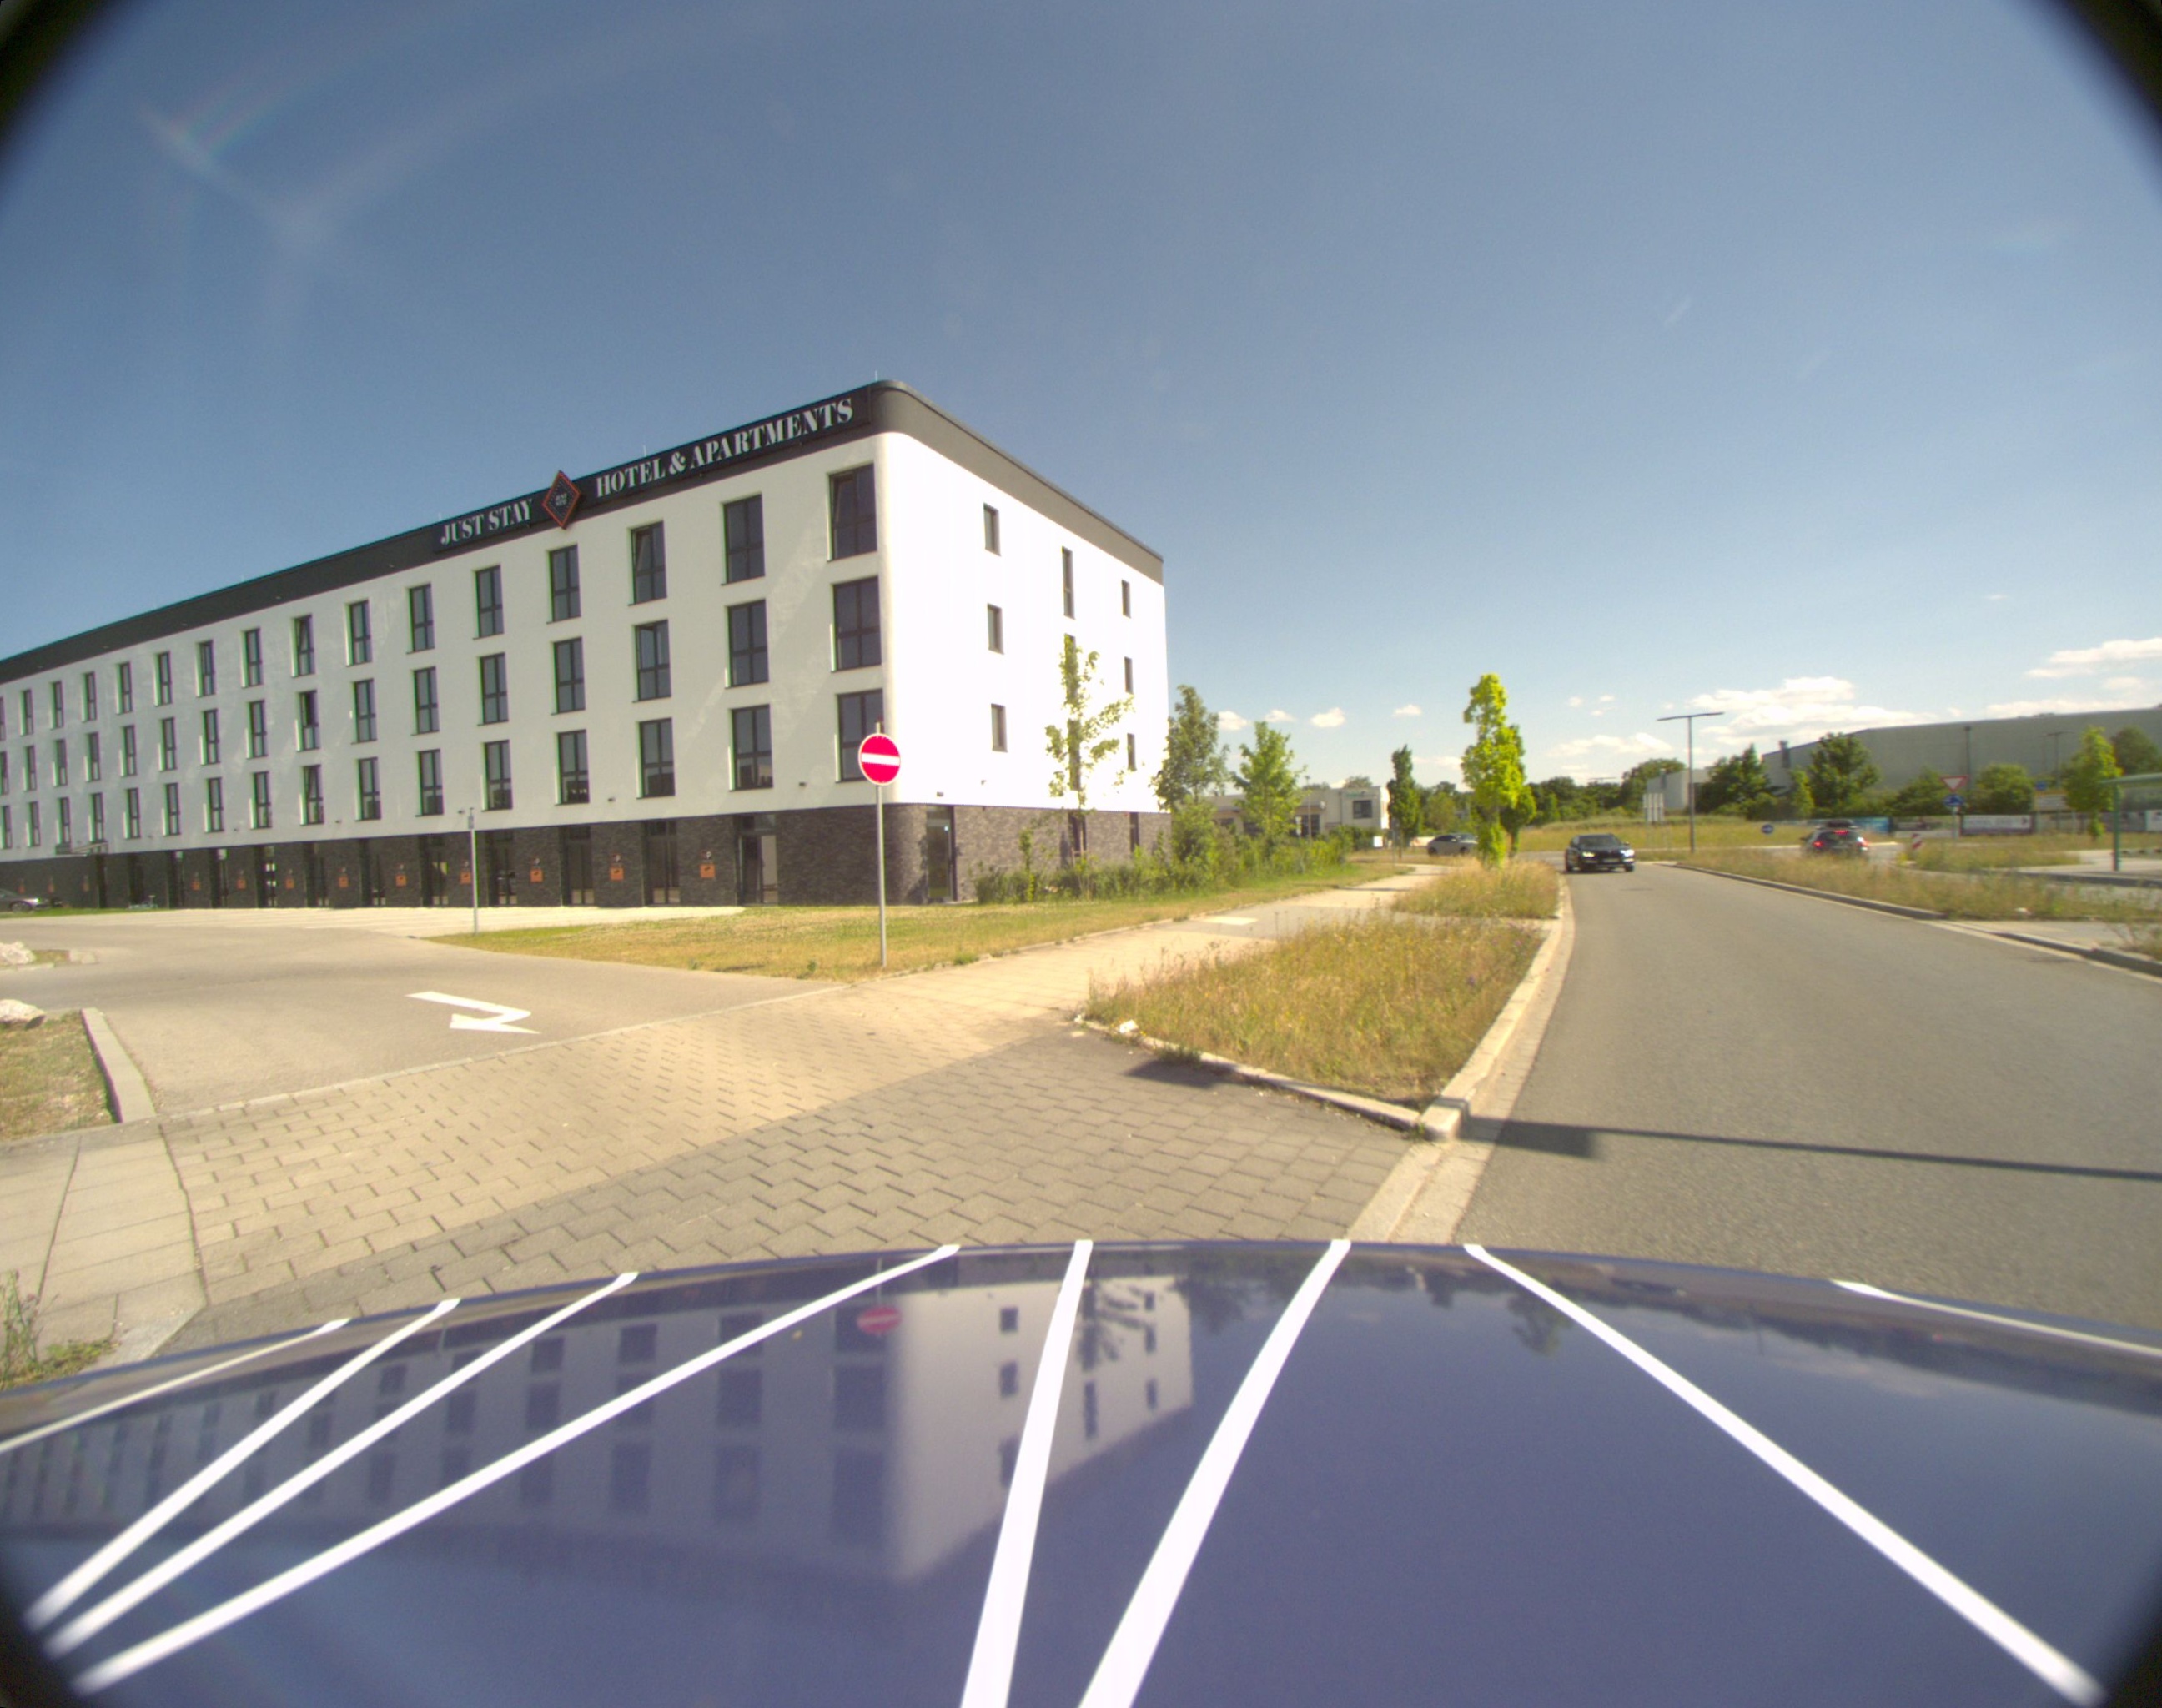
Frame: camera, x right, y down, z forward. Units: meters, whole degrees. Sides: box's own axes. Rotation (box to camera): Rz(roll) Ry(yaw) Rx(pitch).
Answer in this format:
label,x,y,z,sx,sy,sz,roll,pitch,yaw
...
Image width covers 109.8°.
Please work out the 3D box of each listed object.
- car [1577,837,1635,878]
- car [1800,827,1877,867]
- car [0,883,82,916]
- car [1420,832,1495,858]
label,x,y,z,sx,sy,sz,roll,pitch,yaw
car,22.234,0.115,32.271,1.838,1.565,4.007,-3,0,33
car,32.004,-0.316,32.217,1.994,1.508,4.204,0,2,41
car,-54.887,2.384,38.619,4.532,1.499,1.875,-3,2,-32
car,24.615,-0.592,49.871,1.843,1.565,4.391,-4,2,-17
